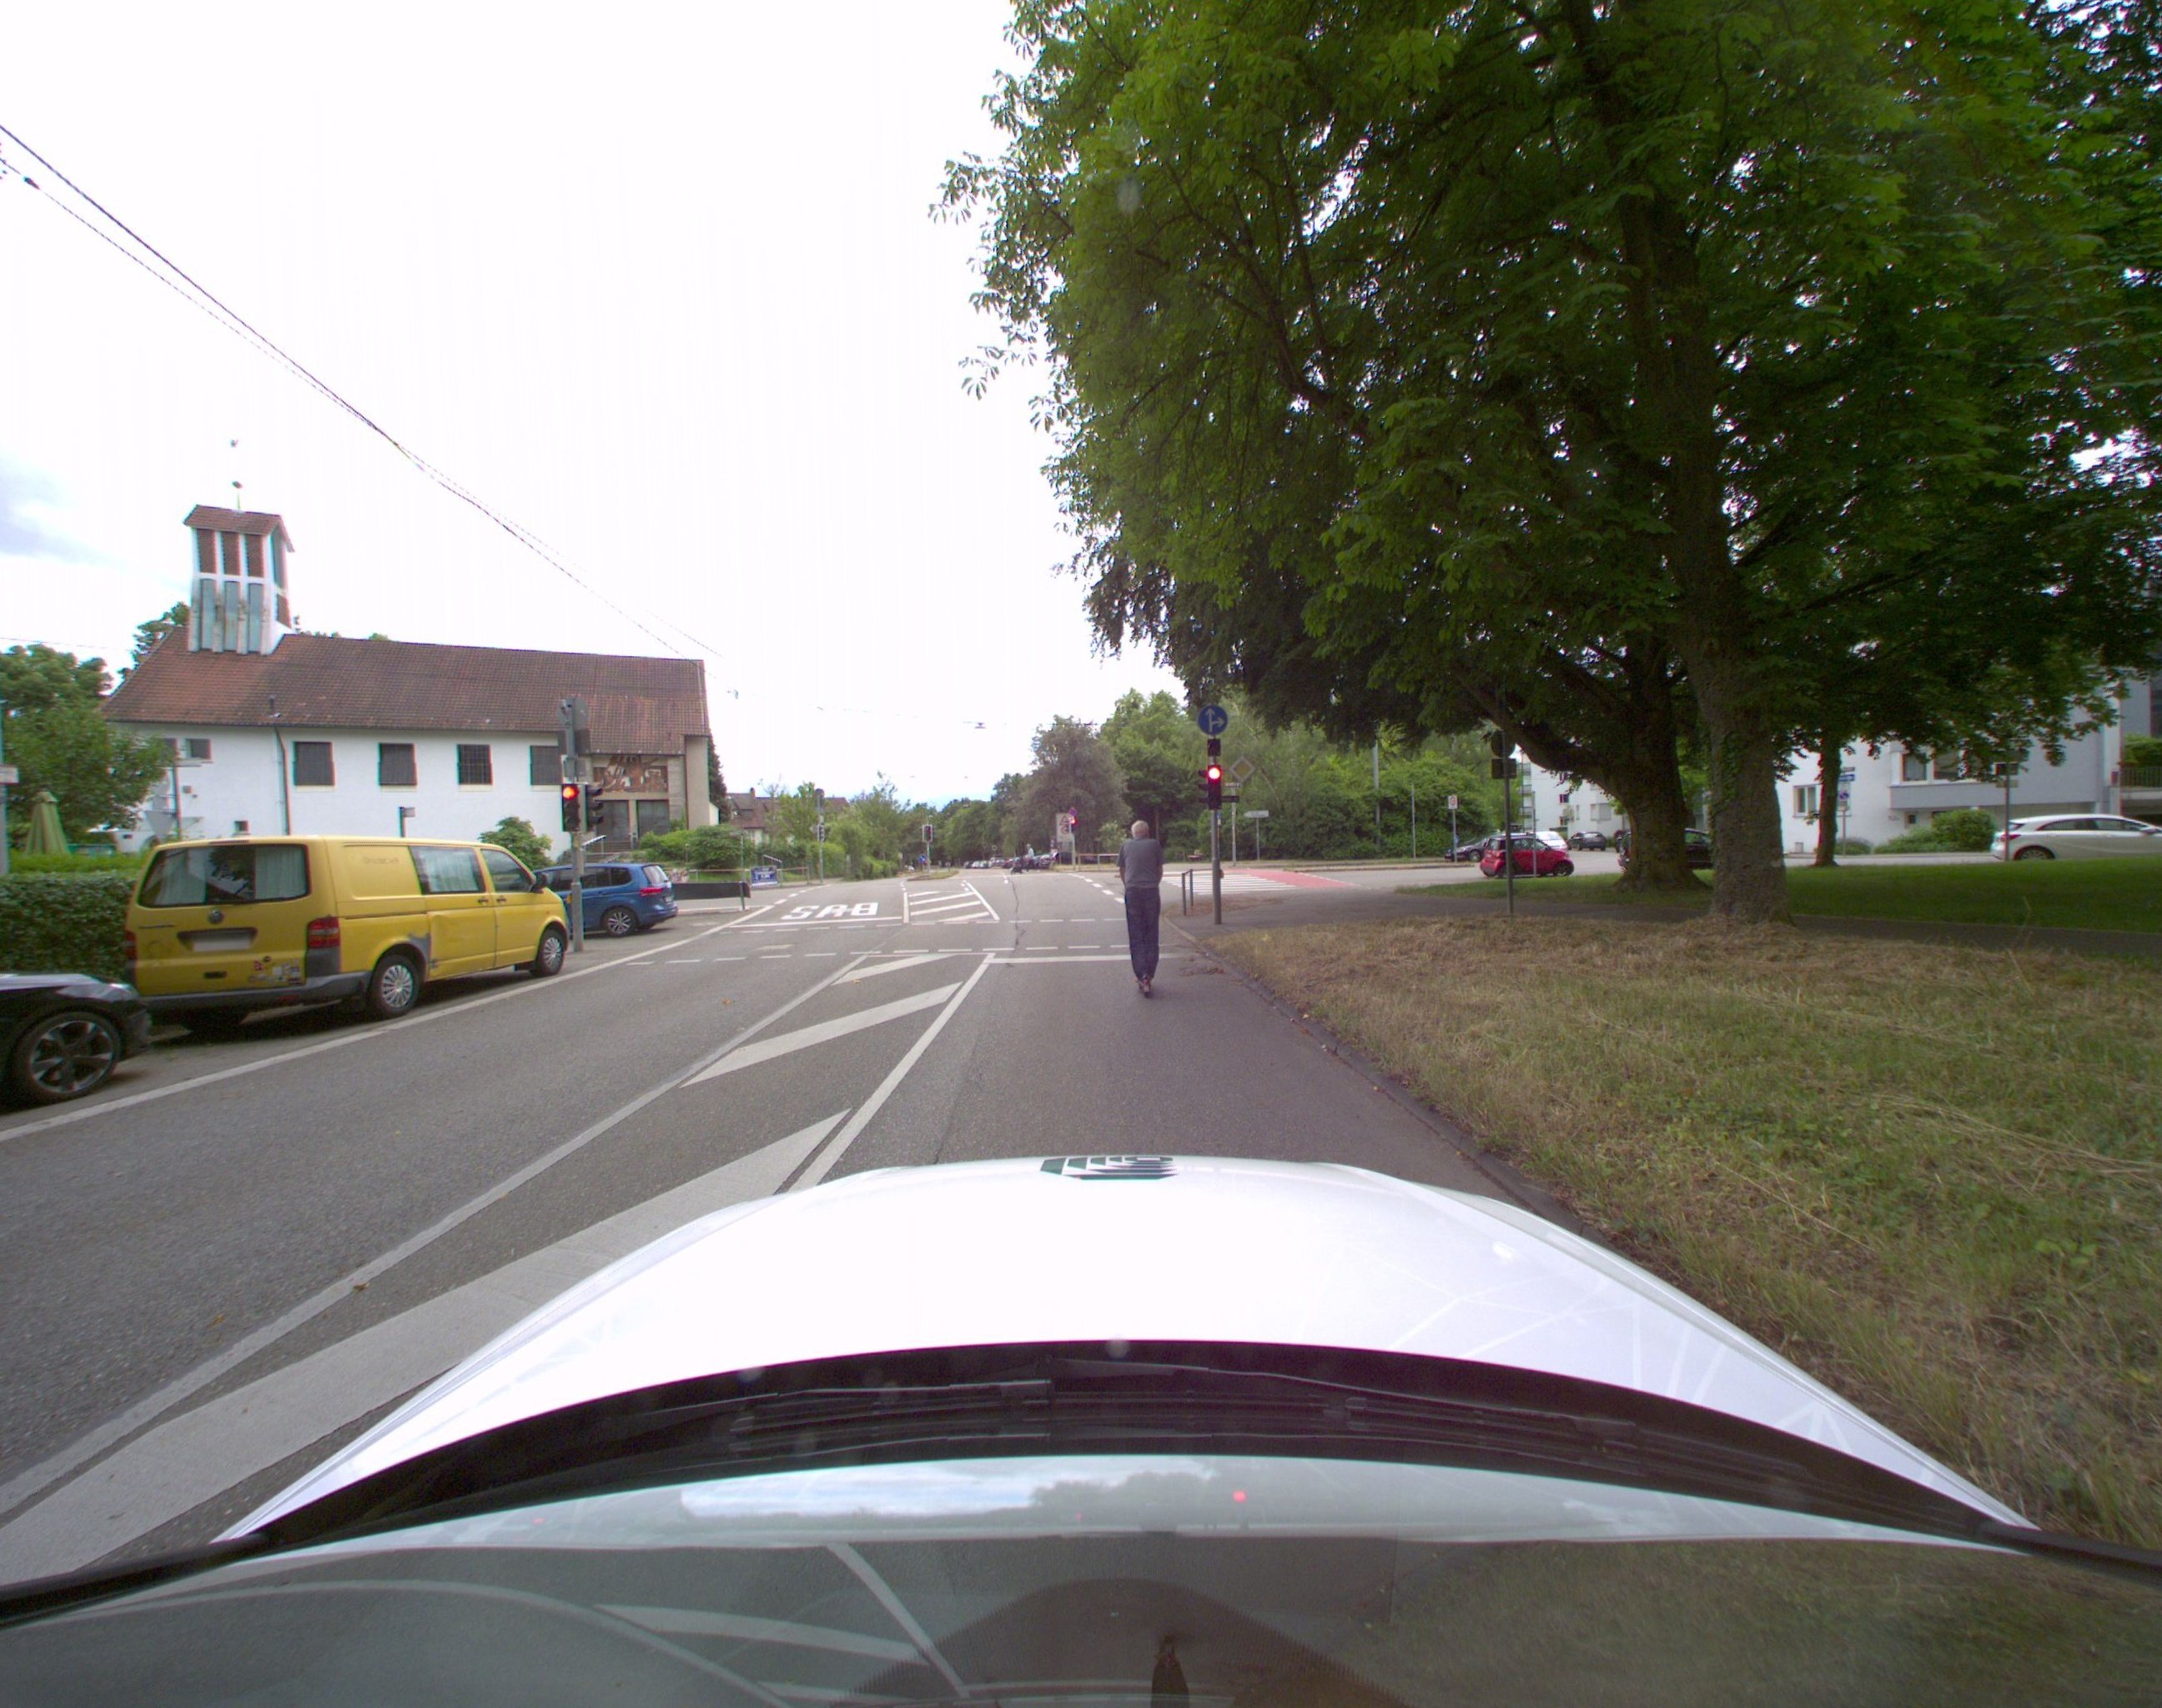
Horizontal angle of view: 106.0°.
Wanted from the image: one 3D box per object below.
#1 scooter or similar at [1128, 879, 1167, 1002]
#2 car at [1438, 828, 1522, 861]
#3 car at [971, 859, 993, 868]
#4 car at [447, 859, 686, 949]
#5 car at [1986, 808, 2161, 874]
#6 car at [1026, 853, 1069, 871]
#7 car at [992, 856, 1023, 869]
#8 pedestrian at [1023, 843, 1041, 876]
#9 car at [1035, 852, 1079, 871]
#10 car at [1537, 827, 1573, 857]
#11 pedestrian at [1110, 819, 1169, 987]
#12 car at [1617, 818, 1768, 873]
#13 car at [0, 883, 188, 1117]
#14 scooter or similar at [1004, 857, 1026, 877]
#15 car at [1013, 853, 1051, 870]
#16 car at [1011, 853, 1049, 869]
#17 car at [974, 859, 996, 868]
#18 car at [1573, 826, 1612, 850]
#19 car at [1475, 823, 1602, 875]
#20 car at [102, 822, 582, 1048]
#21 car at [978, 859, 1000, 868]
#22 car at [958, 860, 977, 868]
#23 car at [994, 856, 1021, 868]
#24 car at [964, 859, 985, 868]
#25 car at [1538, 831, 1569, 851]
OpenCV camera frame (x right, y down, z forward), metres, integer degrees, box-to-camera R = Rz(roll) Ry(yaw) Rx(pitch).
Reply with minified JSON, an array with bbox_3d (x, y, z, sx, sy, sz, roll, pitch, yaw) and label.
[{"bbox_3d":[0.704,0.889,8.795,0.281,1.178,1.177,-3,0,1],"label":"scooter or similar"},{"bbox_3d":[20.767,-0.494,42.490,3.499,1.530,1.732,-3,0,7],"label":"car"},{"bbox_3d":[-19.802,1.867,162.864,3.857,1.610,1.716,-3,0,-22],"label":"car"},{"bbox_3d":[-11.144,1.025,17.959,3.993,1.610,1.809,-3,0,-14],"label":"car"},{"bbox_3d":[27.741,-0.351,22.240,3.805,1.610,1.739,-3,0,42],"label":"car"},{"bbox_3d":[-3.350,0.788,80.617,3.858,1.610,1.715,-3,0,-23],"label":"car"},{"bbox_3d":[-10.161,1.166,112.879,3.857,1.610,1.716,-3,0,-22],"label":"car"},{"bbox_3d":[-2.883,0.315,47.512,0.885,1.862,0.572,-3,0,-13],"label":"pedestrian"},{"bbox_3d":[-2.318,0.748,78.633,3.854,1.610,1.717,-3,0,-20],"label":"car"},{"bbox_3d":[28.374,-0.730,48.865,1.706,1.610,3.878,-3,0,29],"label":"car"},{"bbox_3d":[0.655,0.535,9.078,0.570,1.813,0.421,-3,0,5],"label":"pedestrian"},{"bbox_3d":[20.650,-0.289,27.689,3.805,1.610,1.739,-3,0,27],"label":"car"},{"bbox_3d":[-7.913,1.022,4.177,1.686,1.485,4.539,-3,0,-2],"label":"car"},{"bbox_3d":[-3.833,0.746,47.238,1.110,1.081,0.574,-3,0,-16],"label":"scooter or similar"},{"bbox_3d":[-5.467,0.799,90.539,3.857,1.610,1.716,-3,0,-22],"label":"car"},{"bbox_3d":[-5.826,0.817,92.956,3.857,1.610,1.716,-3,0,-22],"label":"car"},{"bbox_3d":[-18.948,1.847,160.281,3.857,1.610,1.716,-3,0,-22],"label":"car"},{"bbox_3d":[38.410,-1.213,61.220,1.708,1.610,3.875,-3,0,21],"label":"car"},{"bbox_3d":[16.326,-0.176,29.198,3.500,1.610,1.731,-3,0,6],"label":"car"},{"bbox_3d":[-8.292,0.747,9.908,1.881,2.013,4.557,-3,0,-6],"label":"car"},{"bbox_3d":[-17.946,1.872,158.134,3.857,1.610,1.716,-3,0,-22],"label":"car"},{"bbox_3d":[-25.031,2.260,179.474,3.857,1.610,1.716,-3,0,-22],"label":"car"},{"bbox_3d":[-11.376,1.176,125.868,3.857,1.610,1.716,-3,0,-22],"label":"car"},{"bbox_3d":[-22.230,1.920,169.964,3.857,1.610,1.716,-3,0,-22],"label":"car"},{"bbox_3d":[42.123,-1.186,72.675,1.708,1.610,3.875,-3,0,21],"label":"car"}]
